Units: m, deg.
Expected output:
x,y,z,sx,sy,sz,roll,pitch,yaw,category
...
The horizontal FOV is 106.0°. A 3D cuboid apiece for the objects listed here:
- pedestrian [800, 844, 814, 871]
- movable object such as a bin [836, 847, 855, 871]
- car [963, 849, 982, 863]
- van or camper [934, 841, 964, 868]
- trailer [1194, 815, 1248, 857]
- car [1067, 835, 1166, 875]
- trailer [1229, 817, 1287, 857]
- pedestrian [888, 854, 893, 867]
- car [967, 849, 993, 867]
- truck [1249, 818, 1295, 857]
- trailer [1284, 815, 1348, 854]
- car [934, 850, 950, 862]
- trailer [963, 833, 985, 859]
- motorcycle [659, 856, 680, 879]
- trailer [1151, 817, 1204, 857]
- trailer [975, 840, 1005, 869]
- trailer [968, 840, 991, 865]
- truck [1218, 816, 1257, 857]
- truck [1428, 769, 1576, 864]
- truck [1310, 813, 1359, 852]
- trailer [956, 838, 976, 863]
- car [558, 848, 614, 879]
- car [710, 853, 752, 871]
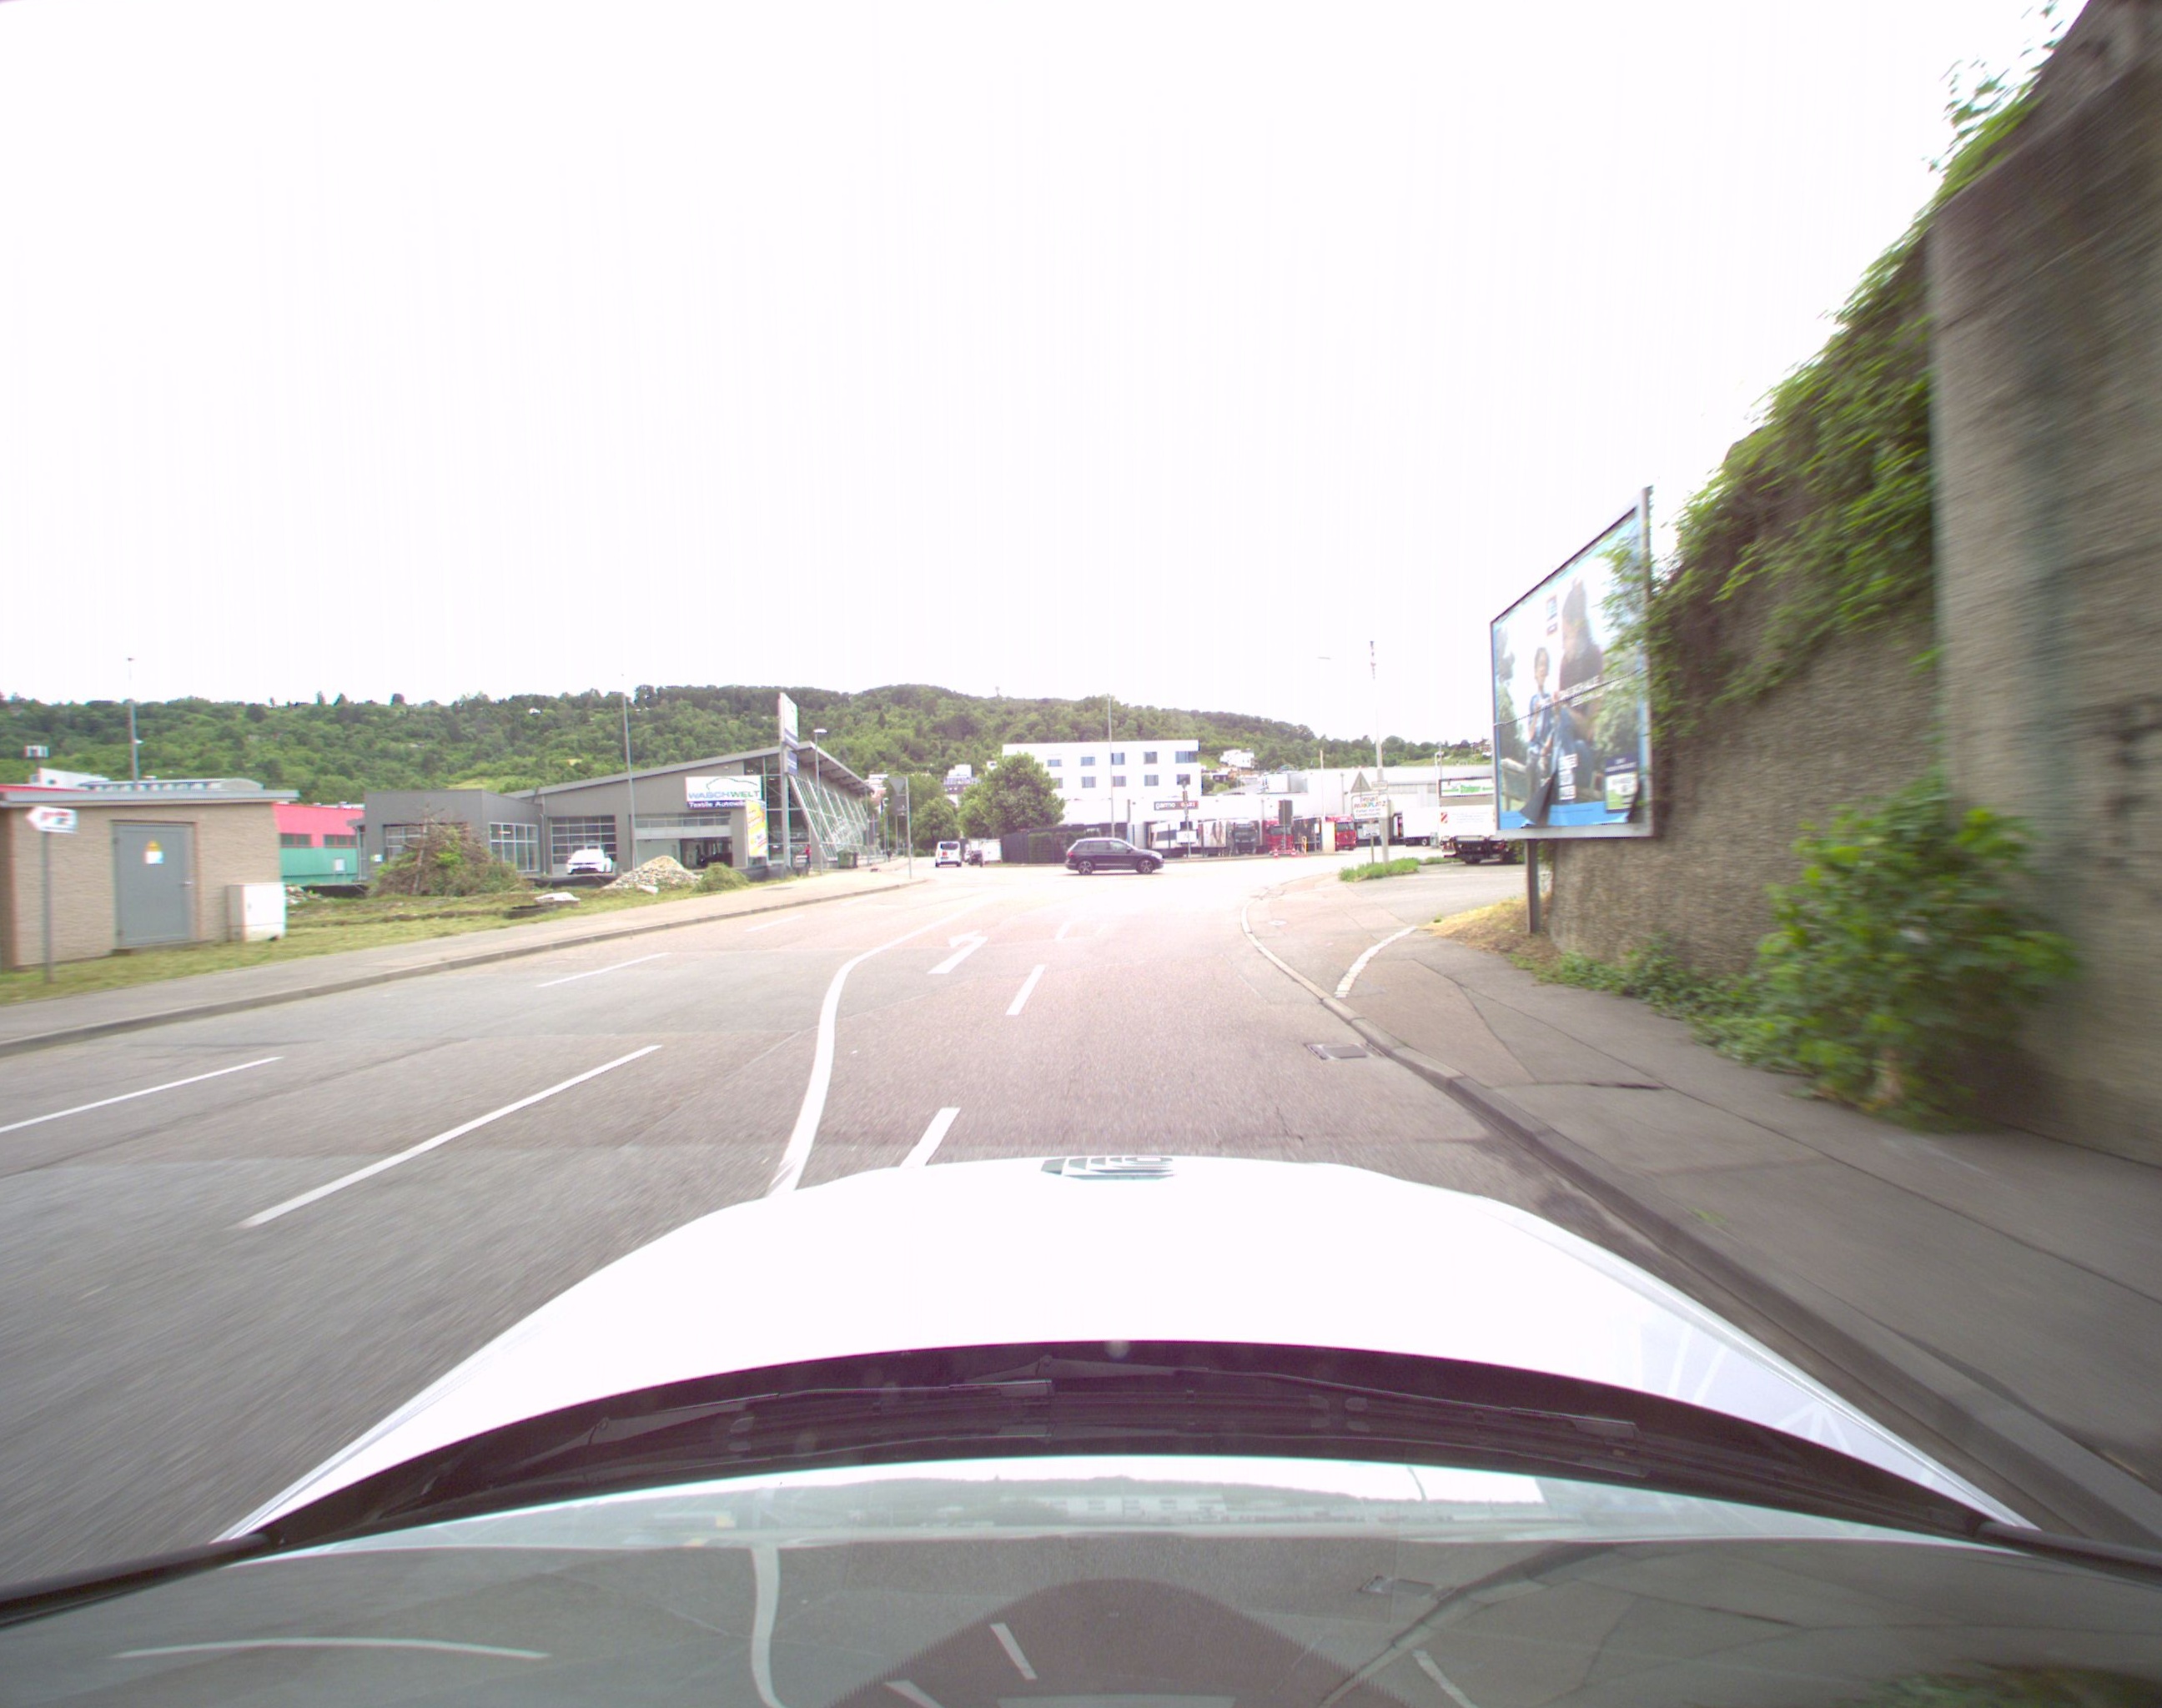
x,y,z,sx,sy,sz,roll,pitch,yaw,category
-19.633,0.230,58.271,0.829,1.868,0.713,-3,0,-21,pedestrian
-17.777,0.348,61.513,1.141,1.757,1.056,-2,-1,-8,movable object such as a bin
-11.925,0.215,89.257,1.992,1.508,3.989,-2,0,-8,car
-10.681,0.075,65.736,2.101,2.083,4.186,-2,-1,-13,van or camper
15.451,-1.879,91.070,2.781,4.301,11.154,-2,0,-7,trailer
1.556,0.065,36.926,4.343,1.684,1.999,1,-1,-1,car
19.536,-1.737,90.804,2.781,4.077,10.969,-2,0,-7,trailer
-25.033,0.838,106.922,0.628,1.673,0.755,-2,-1,-13,pedestrian
-9.086,0.313,72.849,1.994,1.508,4.166,-2,0,-11,car
20.128,-1.681,86.073,2.790,3.928,5.911,-2,0,-7,truck
26.444,-2.077,92.299,2.781,4.077,10.969,-2,0,-7,trailer
-20.369,0.258,119.232,1.992,1.684,3.990,-2,-1,-7,car
-16.067,-1.127,122.311,3.068,3.759,4.918,-1,0,-9,trailer
-32.403,1.039,64.204,0.840,1.710,2.354,-2,0,-11,motorcycle
10.474,-1.740,89.736,3.078,4.077,11.381,-2,0,-7,trailer
-6.831,0.006,60.744,1.993,2.013,3.987,-1,0,-9,trailer
-9.827,-0.140,78.363,1.993,2.343,3.987,-1,0,-9,trailer
16.213,-1.796,84.665,2.790,4.040,4.155,-2,0,-7,truck
18.651,-1.522,35.761,8.654,3.631,3.035,-1,0,-44,truck
26.961,-2.243,87.002,2.790,3.928,5.911,-2,0,-7,truck
-14.109,-0.375,99.962,2.279,2.953,3.987,-1,0,-9,trailer
-26.521,0.488,43.782,2.003,1.535,3.968,-2,0,-24,car
-37.899,0.869,88.272,4.000,1.728,1.987,-2,0,-20,car
